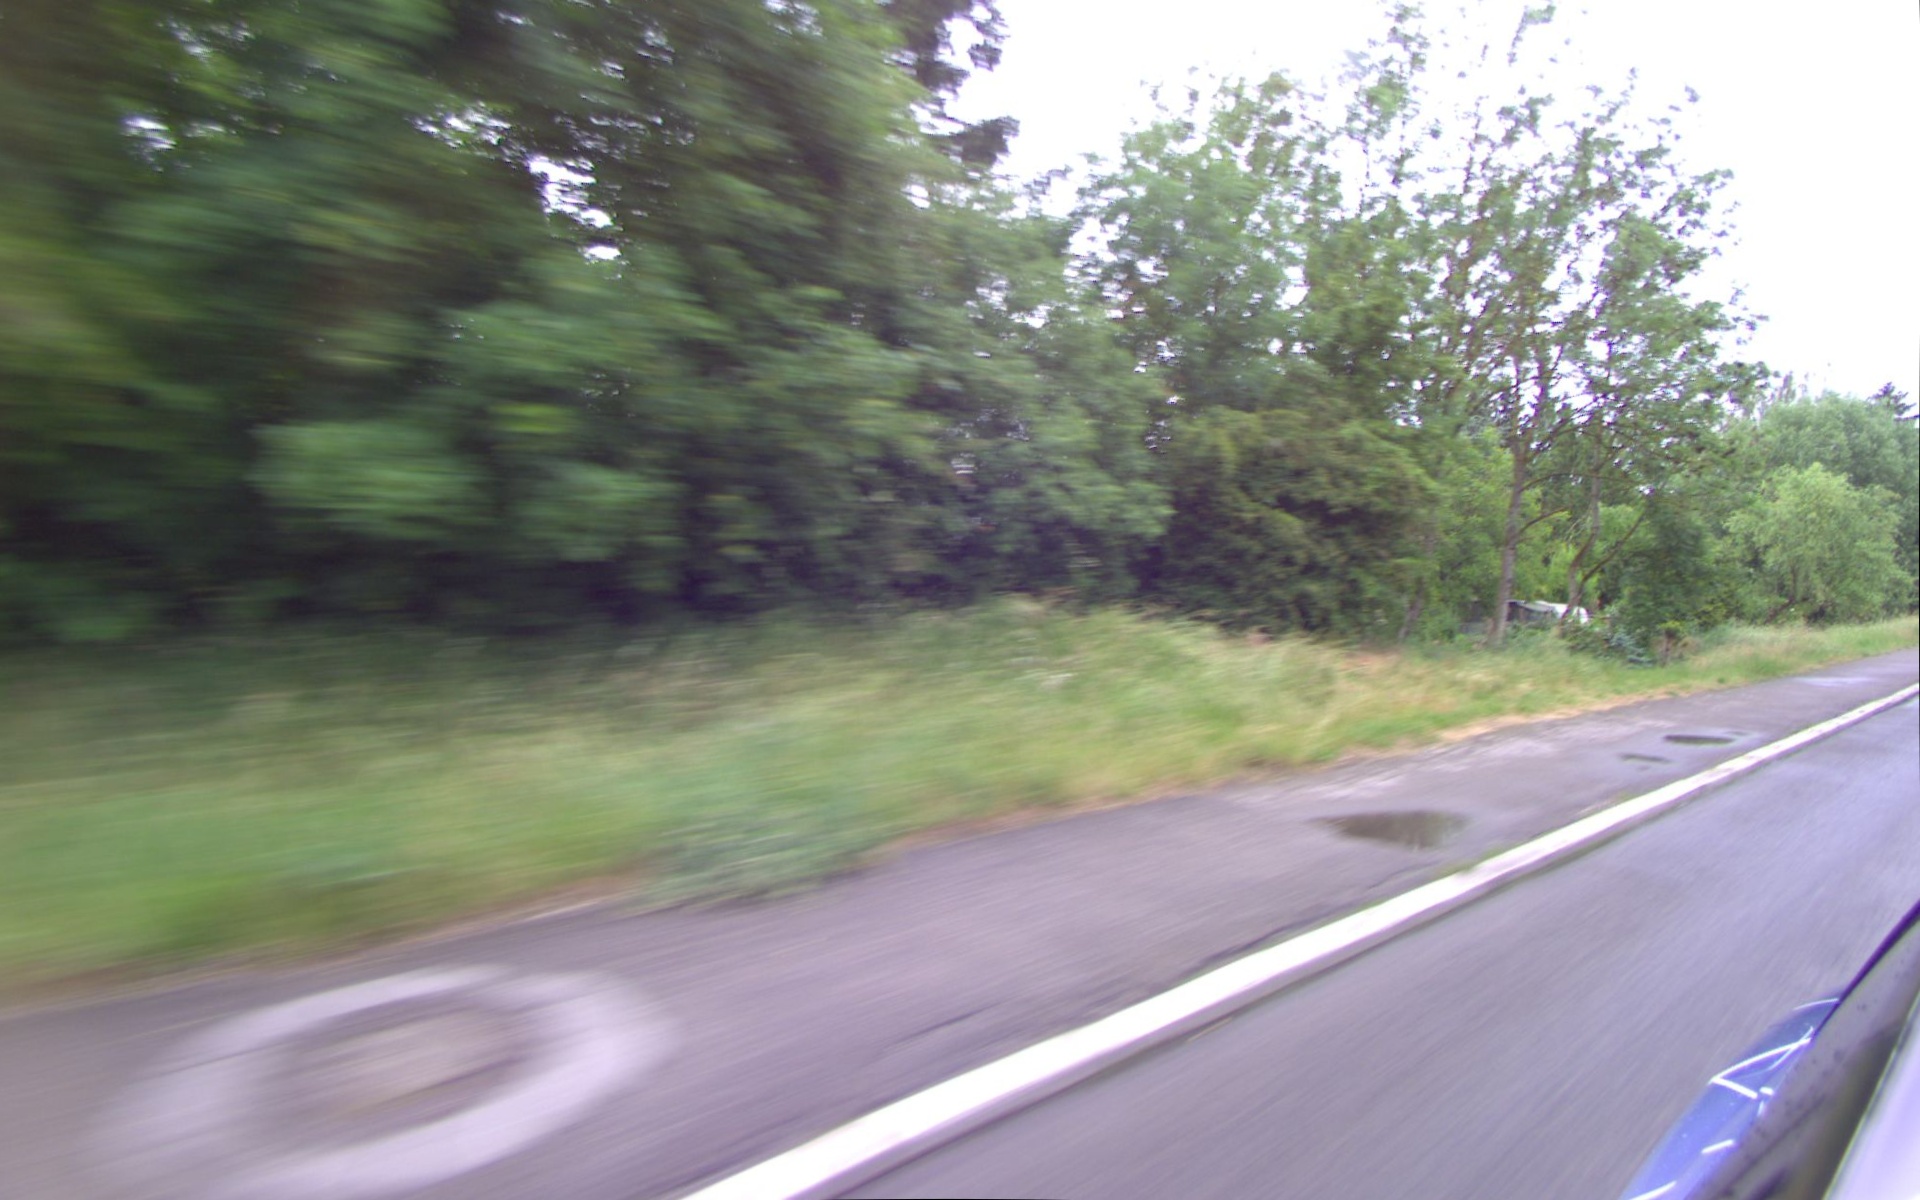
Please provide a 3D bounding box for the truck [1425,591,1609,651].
[{"bbox_3d":[24.417,0.833,44.765,2.026,2.388,7.074,0,1,-31],"label":"truck"}]

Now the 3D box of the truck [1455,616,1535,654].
[{"bbox_3d":[22.056,1.420,41.767,1.723,1.415,2.364,0,1,-28],"label":"truck"}]
